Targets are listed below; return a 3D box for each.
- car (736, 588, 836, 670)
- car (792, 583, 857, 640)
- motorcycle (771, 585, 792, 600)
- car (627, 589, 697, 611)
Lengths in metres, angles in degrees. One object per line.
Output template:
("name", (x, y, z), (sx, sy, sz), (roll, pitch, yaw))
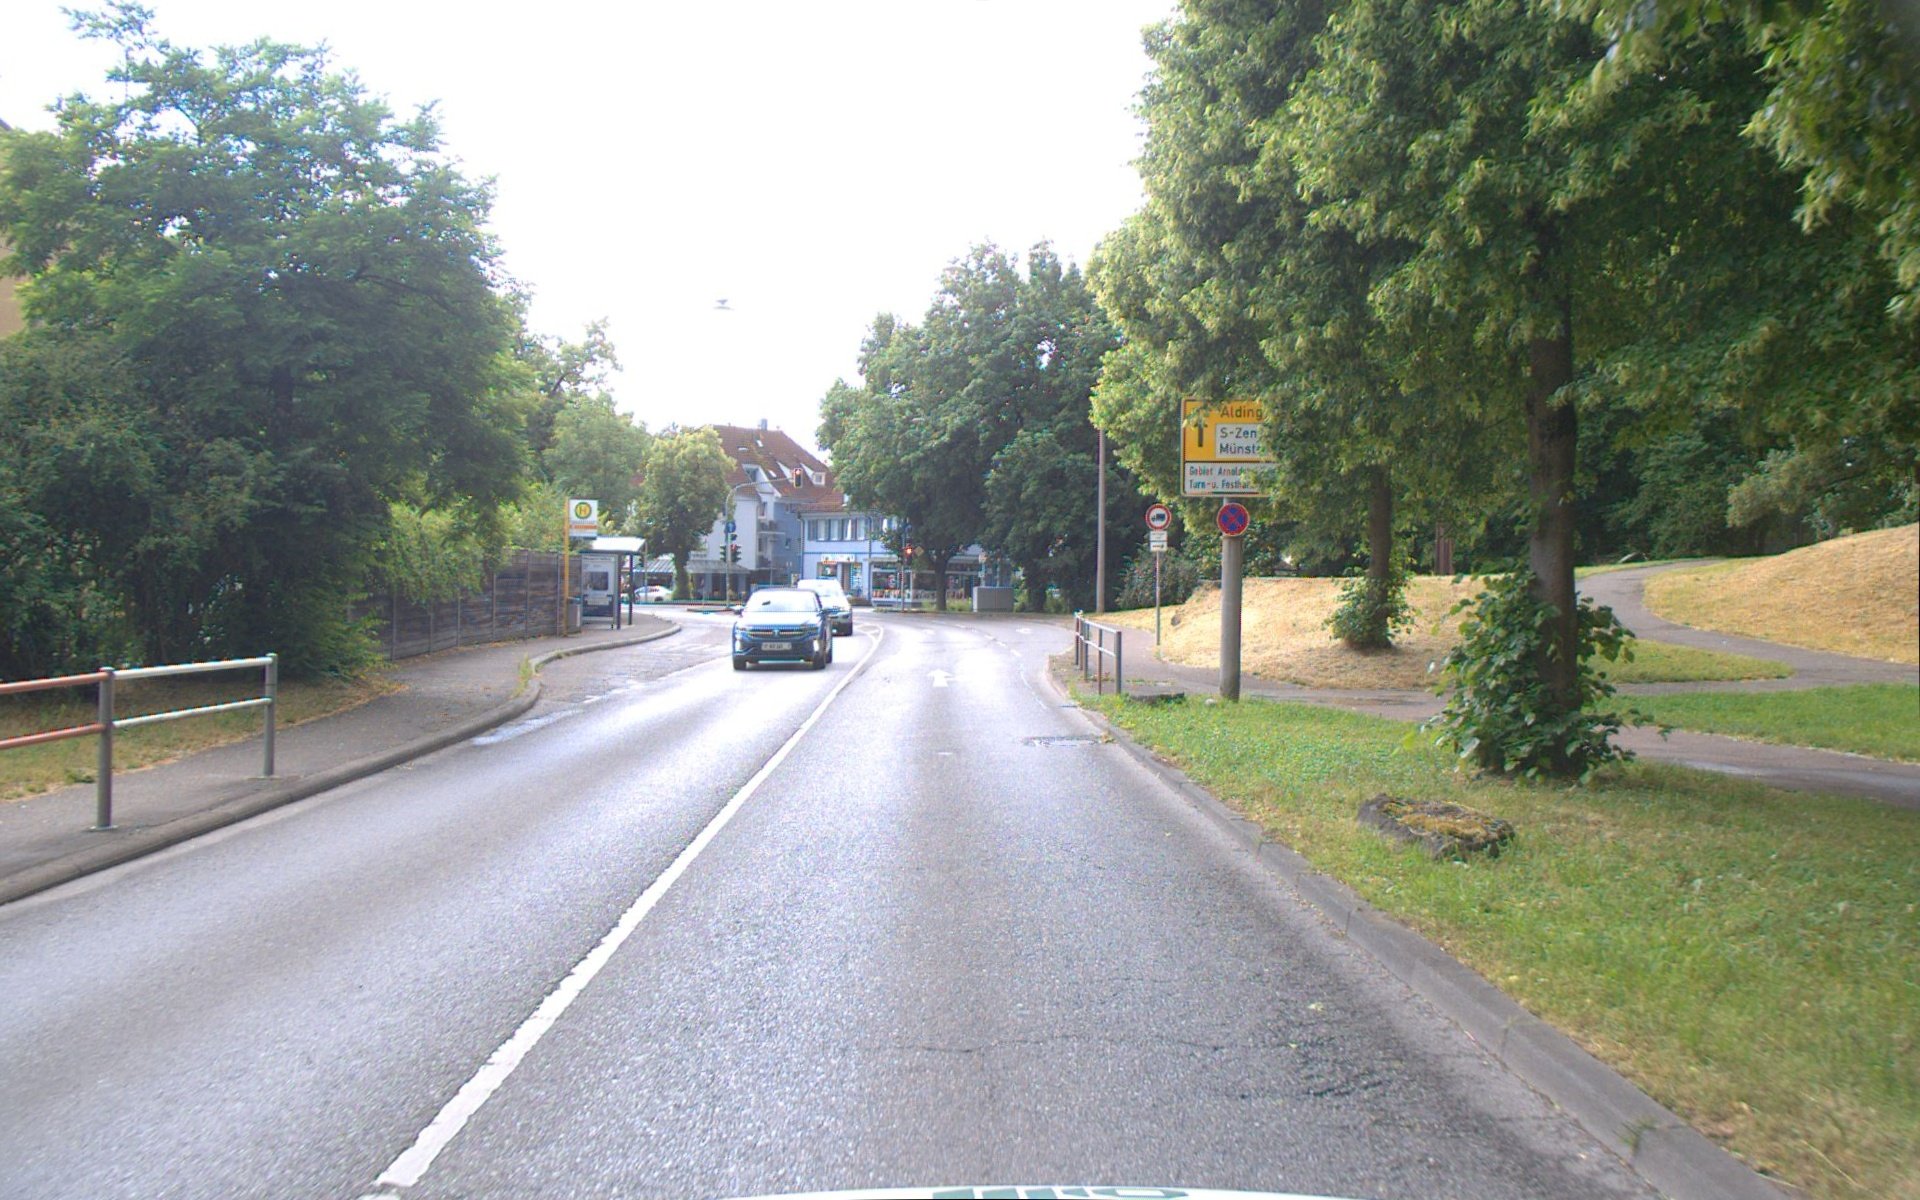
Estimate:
("car", (-3.381, 0.516, 32.734), (1.681, 1.494, 4.097), (0, 1, -2))
("car", (-4.364, 0.336, 53.838), (1.896, 1.754, 4.690), (0, 0, -2))
("motorcycle", (-13.762, -0.573, 127.575), (1.463, 1.126, 0.561), (-1, 5, 12))
("car", (-21.422, -0.010, 119.002), (4.480, 1.544, 2.002), (0, 0, 14))
